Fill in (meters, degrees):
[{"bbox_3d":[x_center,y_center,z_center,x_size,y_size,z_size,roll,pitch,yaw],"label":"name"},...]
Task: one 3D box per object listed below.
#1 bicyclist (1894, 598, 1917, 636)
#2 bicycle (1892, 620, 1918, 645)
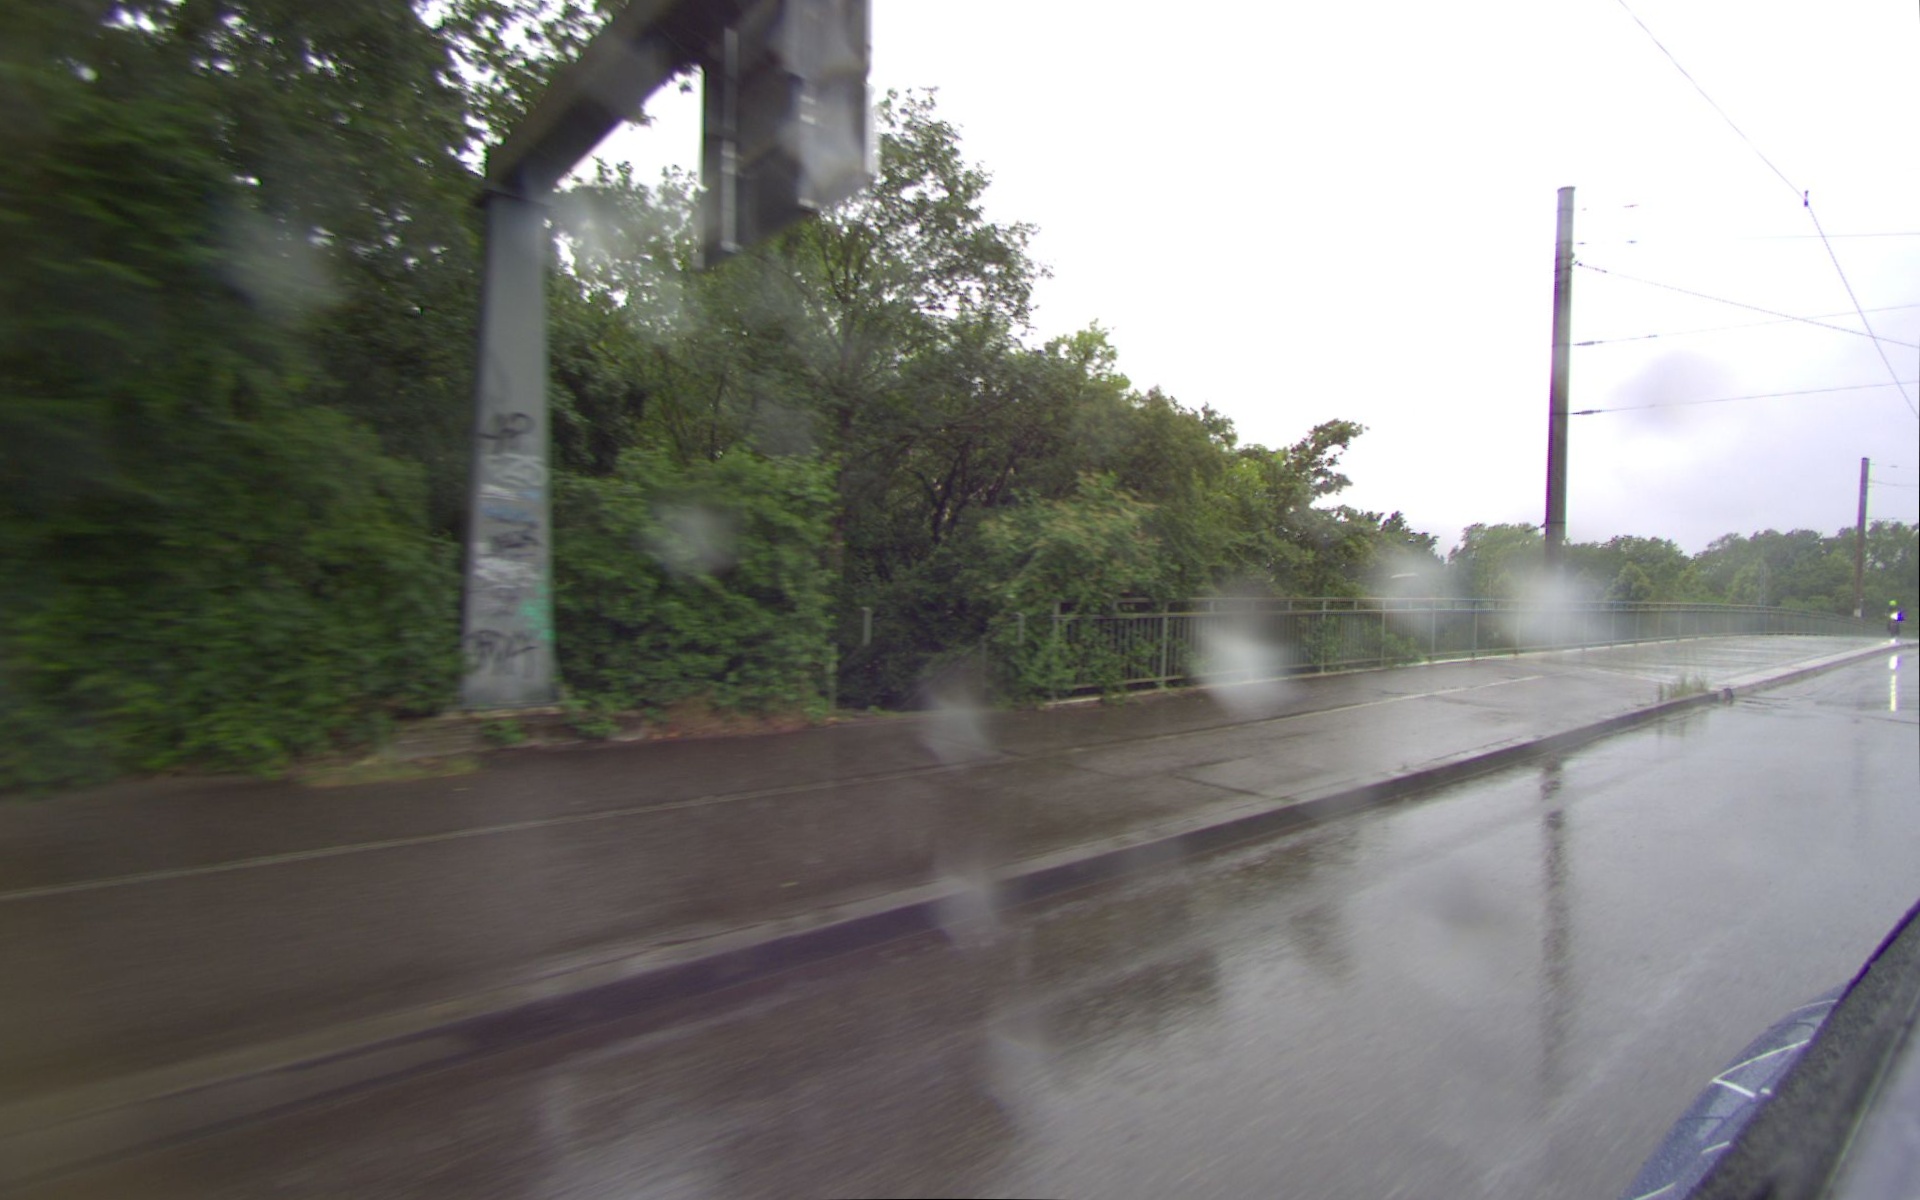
[{"bbox_3d":[45.107,0.798,48.286,0.933,1.786,0.726,2,-2,-42],"label":"bicyclist"},{"bbox_3d":[45.109,1.566,48.280,2.130,1.143,0.724,3,-2,-42],"label":"bicycle"}]
